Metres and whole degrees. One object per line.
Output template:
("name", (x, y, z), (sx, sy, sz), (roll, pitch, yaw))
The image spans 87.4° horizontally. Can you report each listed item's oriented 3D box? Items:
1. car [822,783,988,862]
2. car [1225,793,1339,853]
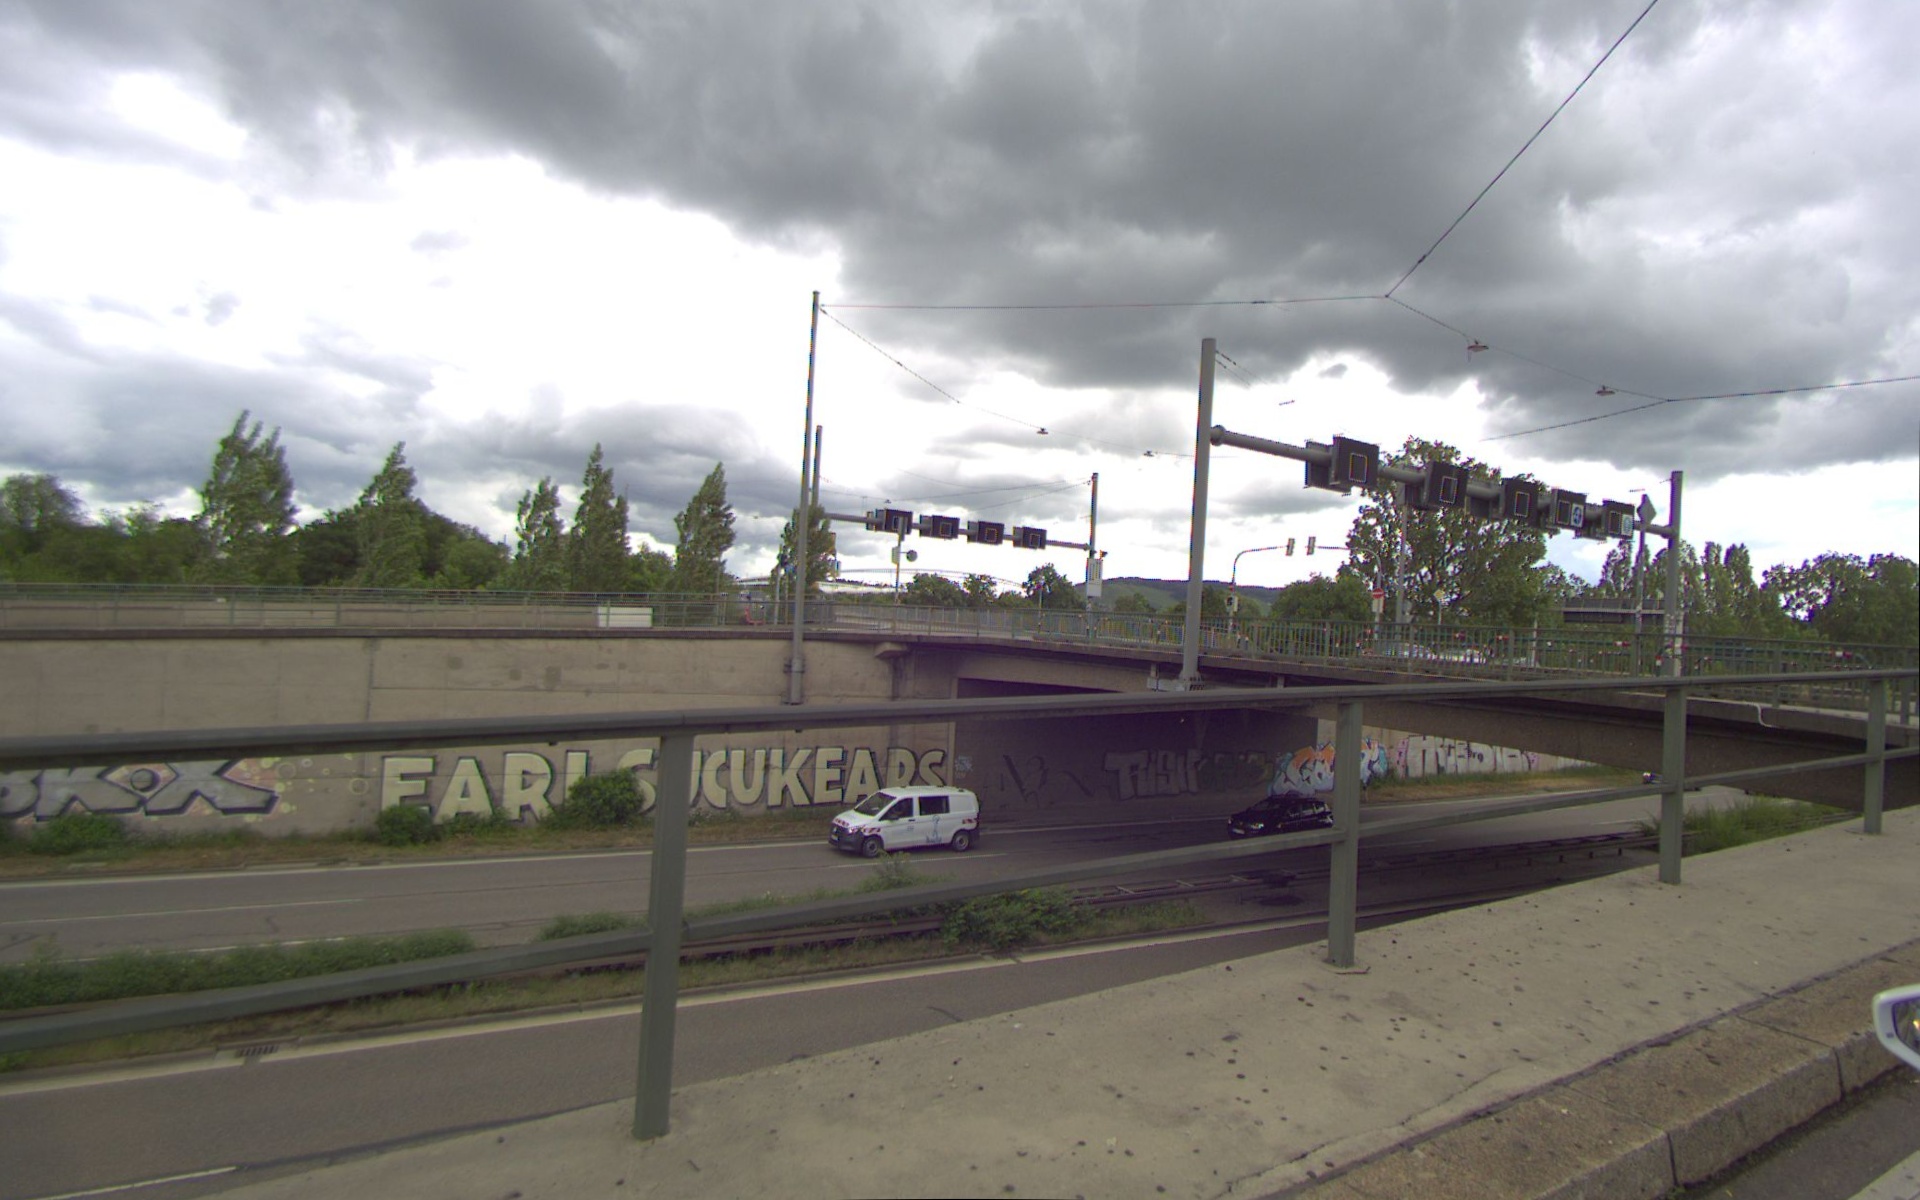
("car", (-1.718, 6.961, 31.835), (4.854, 1.932, 1.938), (4, -3, -30))
("car", (11.512, 7.908, 35.827), (3.954, 1.641, 1.657), (4, -4, -30))
